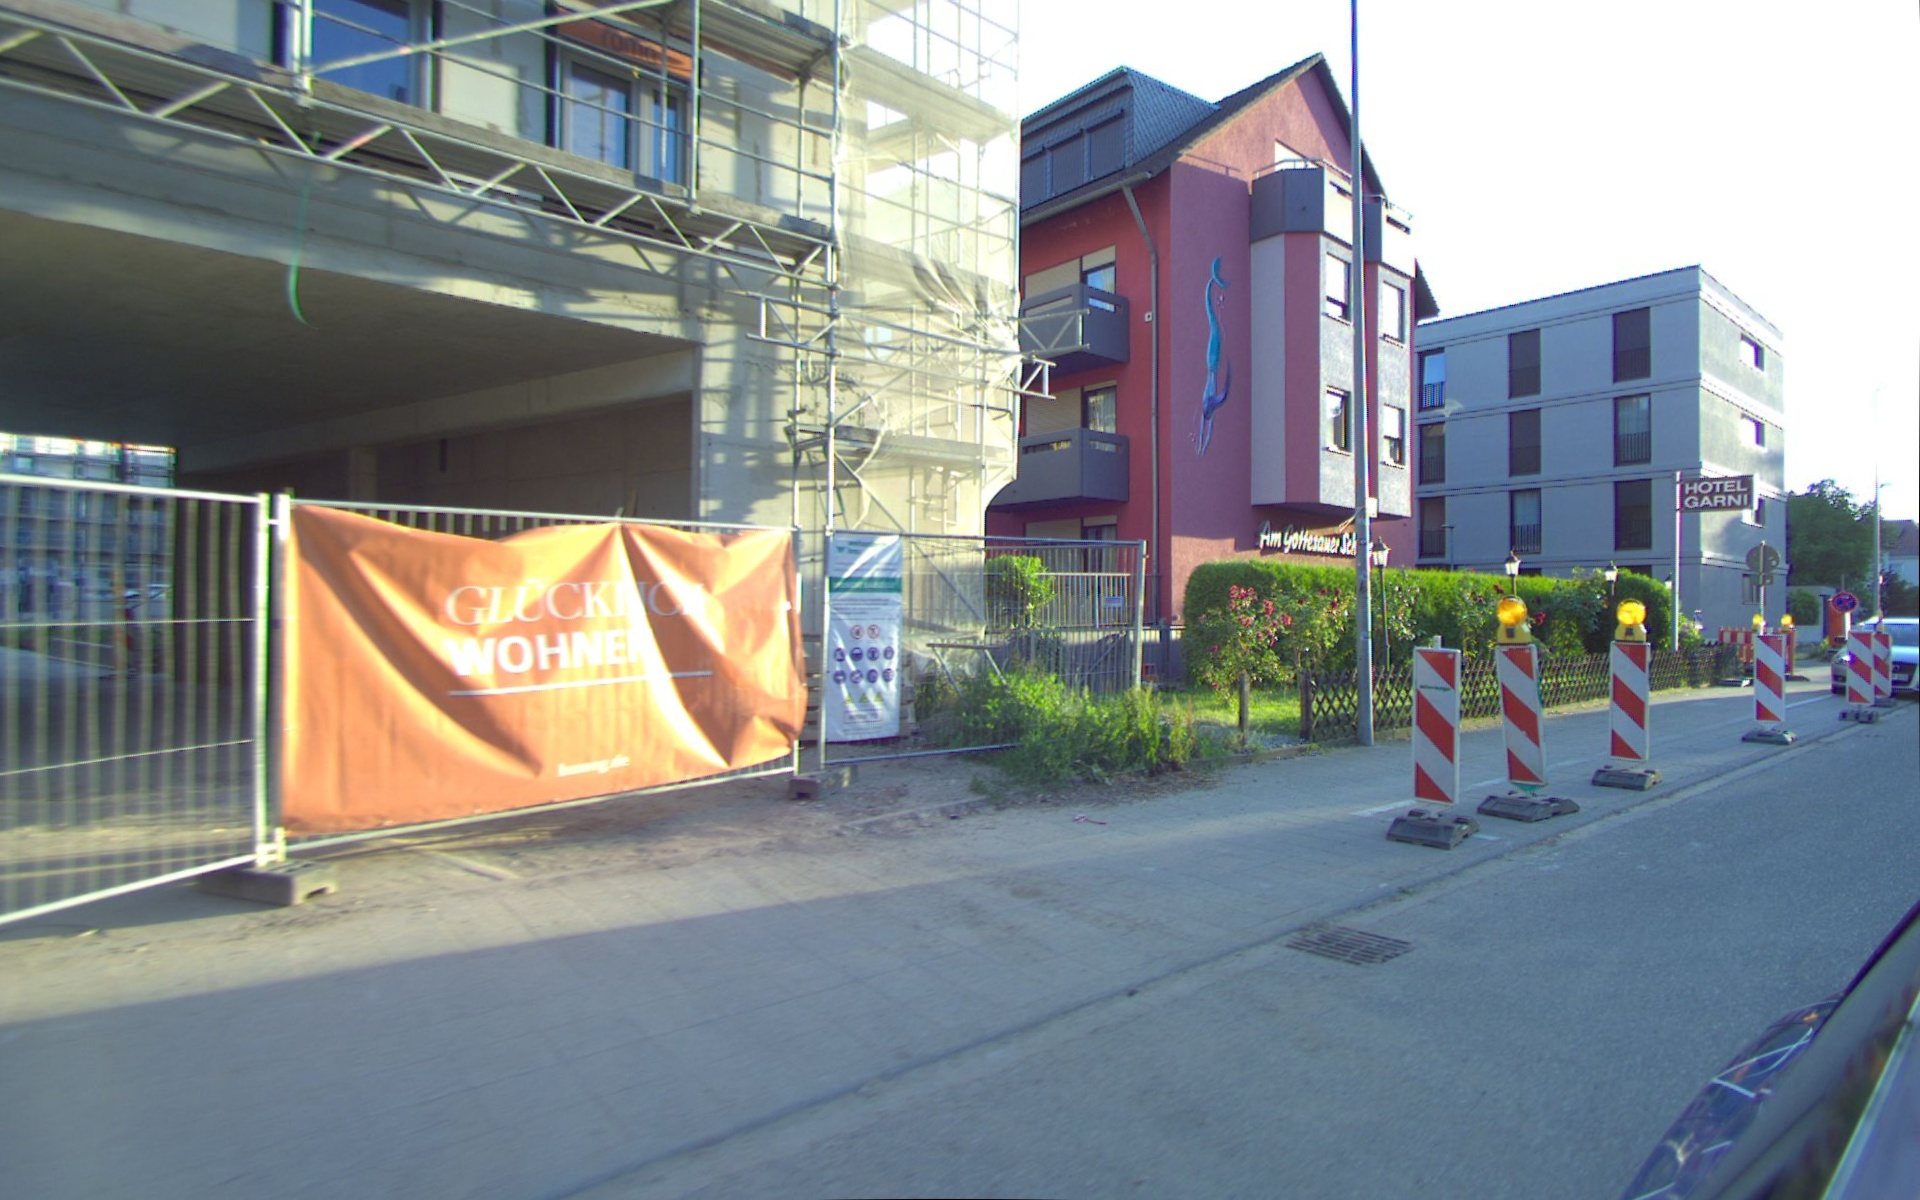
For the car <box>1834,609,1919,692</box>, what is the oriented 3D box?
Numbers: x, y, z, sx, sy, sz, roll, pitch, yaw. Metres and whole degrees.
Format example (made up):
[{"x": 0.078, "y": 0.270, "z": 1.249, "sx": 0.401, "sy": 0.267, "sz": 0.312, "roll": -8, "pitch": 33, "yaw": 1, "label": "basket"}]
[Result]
[{"x": 17.708, "y": 0.884, "z": 18.675, "sx": 4.034, "sy": 1.415, "sz": 1.779, "roll": 1, "pitch": -1, "yaw": -40, "label": "car"}]
